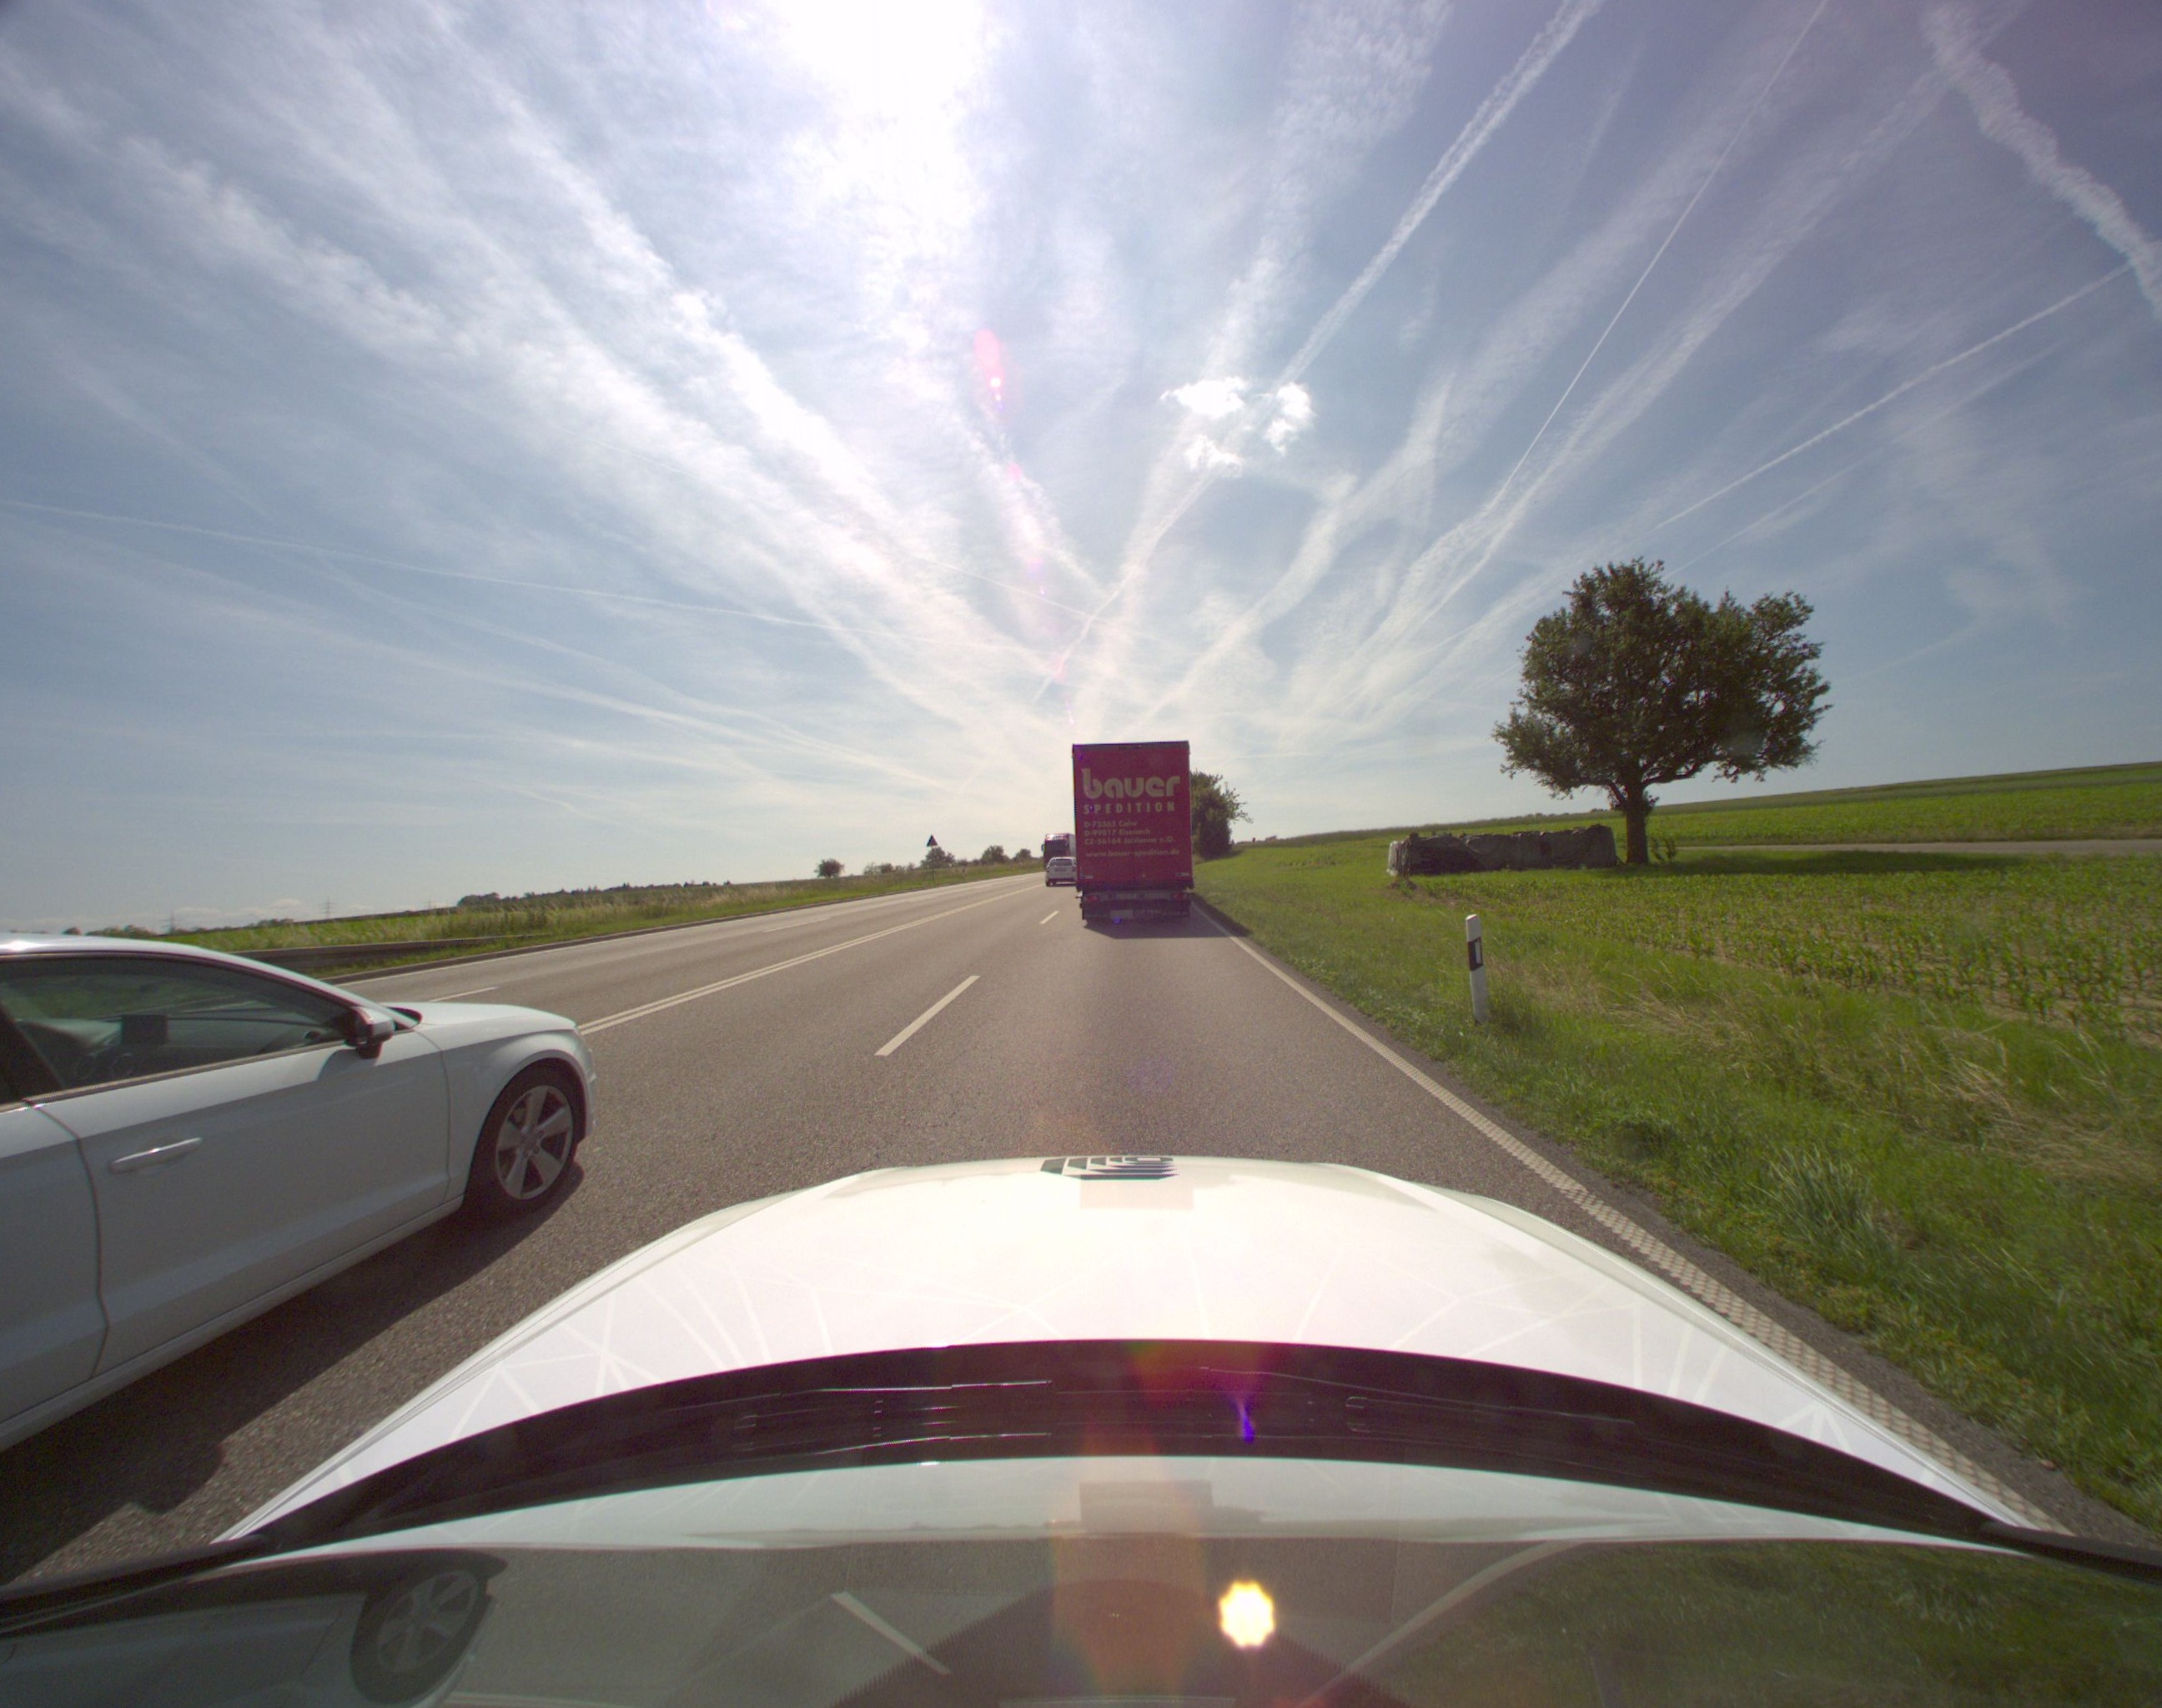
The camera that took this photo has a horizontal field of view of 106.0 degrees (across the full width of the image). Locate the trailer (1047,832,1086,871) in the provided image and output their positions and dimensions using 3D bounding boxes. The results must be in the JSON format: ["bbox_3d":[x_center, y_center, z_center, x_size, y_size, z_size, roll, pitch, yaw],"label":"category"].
[{"bbox_3d":[-1.552,-0.301,95.667,2.531,4.101,13.611,-3,0,7],"label":"trailer"}]

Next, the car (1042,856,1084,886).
[{"bbox_3d":[-0.902,0.864,43.089,1.813,1.472,4.793,-1,0,4],"label":"car"}]

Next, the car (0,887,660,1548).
[{"bbox_3d":[-3.265,0.882,2.203,1.697,1.376,4.605,-1,0,2],"label":"car"}]

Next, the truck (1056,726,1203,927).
[{"bbox_3d":[1.548,-0.535,25.659,2.994,4.180,16.729,-2,0,4],"label":"truck"}]

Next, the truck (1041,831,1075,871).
[{"bbox_3d":[-2.472,-0.321,89.020,2.603,4.101,6.101,-3,0,7],"label":"truck"}]

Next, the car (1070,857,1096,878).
[{"bbox_3d":[0.178,0.988,61.688,1.698,1.472,4.815,-1,0,3],"label":"car"}]
